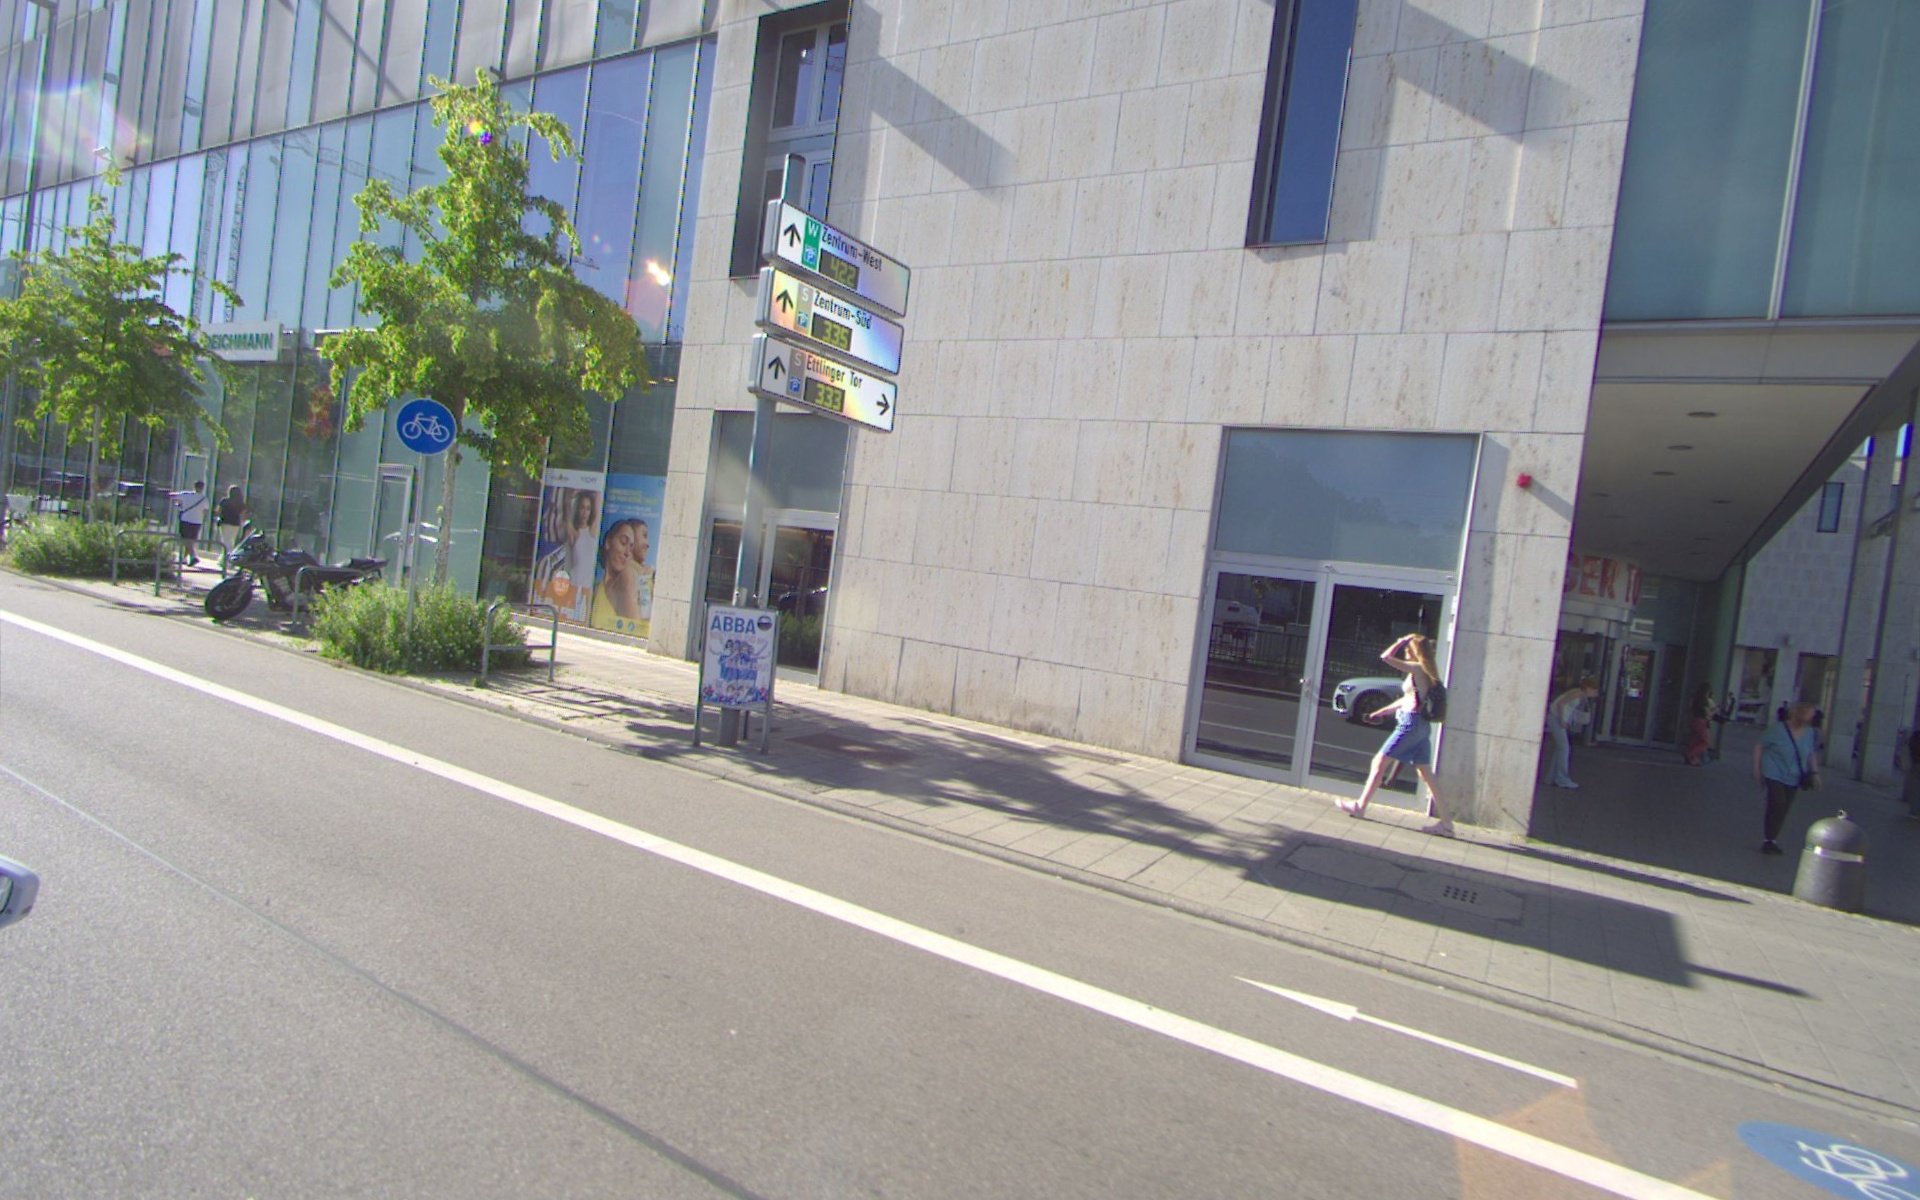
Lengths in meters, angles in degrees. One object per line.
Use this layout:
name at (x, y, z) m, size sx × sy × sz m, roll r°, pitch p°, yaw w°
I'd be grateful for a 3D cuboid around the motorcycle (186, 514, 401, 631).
motorcycle at (-8.993, -0.334, 13.671) m, size 0.889 × 1.341 × 2.188 m, roll 8°, pitch 2°, yaw 35°

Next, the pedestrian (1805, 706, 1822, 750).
pedestrian at (33.315, 4.992, 39.267) m, size 0.291 × 1.705 × 0.336 m, roll 9°, pitch 2°, yaw 40°

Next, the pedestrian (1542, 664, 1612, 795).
pedestrian at (8.259, 1.709, 13.493) m, size 0.547 × 1.628 × 0.748 m, roll 9°, pitch 3°, yaw 30°

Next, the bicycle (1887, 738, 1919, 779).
bicycle at (30.294, 5.034, 30.164) m, size 3.440 × 1.107 × 1.067 m, roll 8°, pitch 1°, yaw 34°

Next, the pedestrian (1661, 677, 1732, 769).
pedestrian at (14.873, 2.480, 20.325) m, size 0.671 × 1.705 × 0.732 m, roll 7°, pitch 2°, yaw -26°

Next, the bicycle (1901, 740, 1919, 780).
bicycle at (29.713, 4.944, 29.077) m, size 3.440 × 1.107 × 1.067 m, roll 8°, pitch 1°, yaw 34°

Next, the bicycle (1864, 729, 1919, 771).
bicycle at (32.511, 5.190, 33.437) m, size 3.440 × 1.107 × 1.067 m, roll 8°, pitch 1°, yaw 34°

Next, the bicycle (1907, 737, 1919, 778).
bicycle at (28.927, 4.721, 28.049) m, size 3.440 × 1.107 × 1.067 m, roll 8°, pitch 1°, yaw 34°

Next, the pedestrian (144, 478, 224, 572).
pedestrian at (-15.351, -1.475, 19.907) m, size 0.884 × 1.679 × 0.822 m, roll 8°, pitch 1°, yaw 27°

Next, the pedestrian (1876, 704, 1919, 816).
pedestrian at (15.523, 2.593, 16.119) m, size 0.846 × 1.705 × 0.978 m, roll 8°, pitch 2°, yaw 29°

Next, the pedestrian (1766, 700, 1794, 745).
pedestrian at (32.979, 4.933, 40.458) m, size 0.563 × 1.705 × 0.536 m, roll 8°, pitch 2°, yaw 24°

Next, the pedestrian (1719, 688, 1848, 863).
pedestrian at (8.565, 1.794, 10.505) m, size 0.737 × 1.628 × 0.724 m, roll 9°, pitch 3°, yaw 32°

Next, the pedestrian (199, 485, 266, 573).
pedestrian at (-14.897, -1.451, 20.606) m, size 0.884 × 1.681 × 0.707 m, roll 8°, pitch 4°, yaw 27°

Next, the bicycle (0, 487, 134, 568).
bicycle at (-16.401, -1.310, 18.158) m, size 0.936 × 1.221 × 2.084 m, roll 8°, pitch 2°, yaw 37°

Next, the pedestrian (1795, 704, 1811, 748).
pedestrian at (33.467, 5.015, 39.926) m, size 0.291 × 1.705 × 0.336 m, roll 9°, pitch 2°, yaw 40°

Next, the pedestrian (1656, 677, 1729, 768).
pedestrian at (14.941, 2.493, 20.524) m, size 0.679 × 1.705 × 0.784 m, roll 7°, pitch 2°, yaw -26°

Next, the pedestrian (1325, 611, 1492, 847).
pedestrian at (3.922, 1.071, 8.803) m, size 1.048 × 1.826 × 0.728 m, roll 8°, pitch 4°, yaw 31°

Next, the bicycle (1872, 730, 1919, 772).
bicycle at (31.590, 5.056, 32.117) m, size 3.440 × 1.107 × 1.067 m, roll 8°, pitch 1°, yaw 34°
